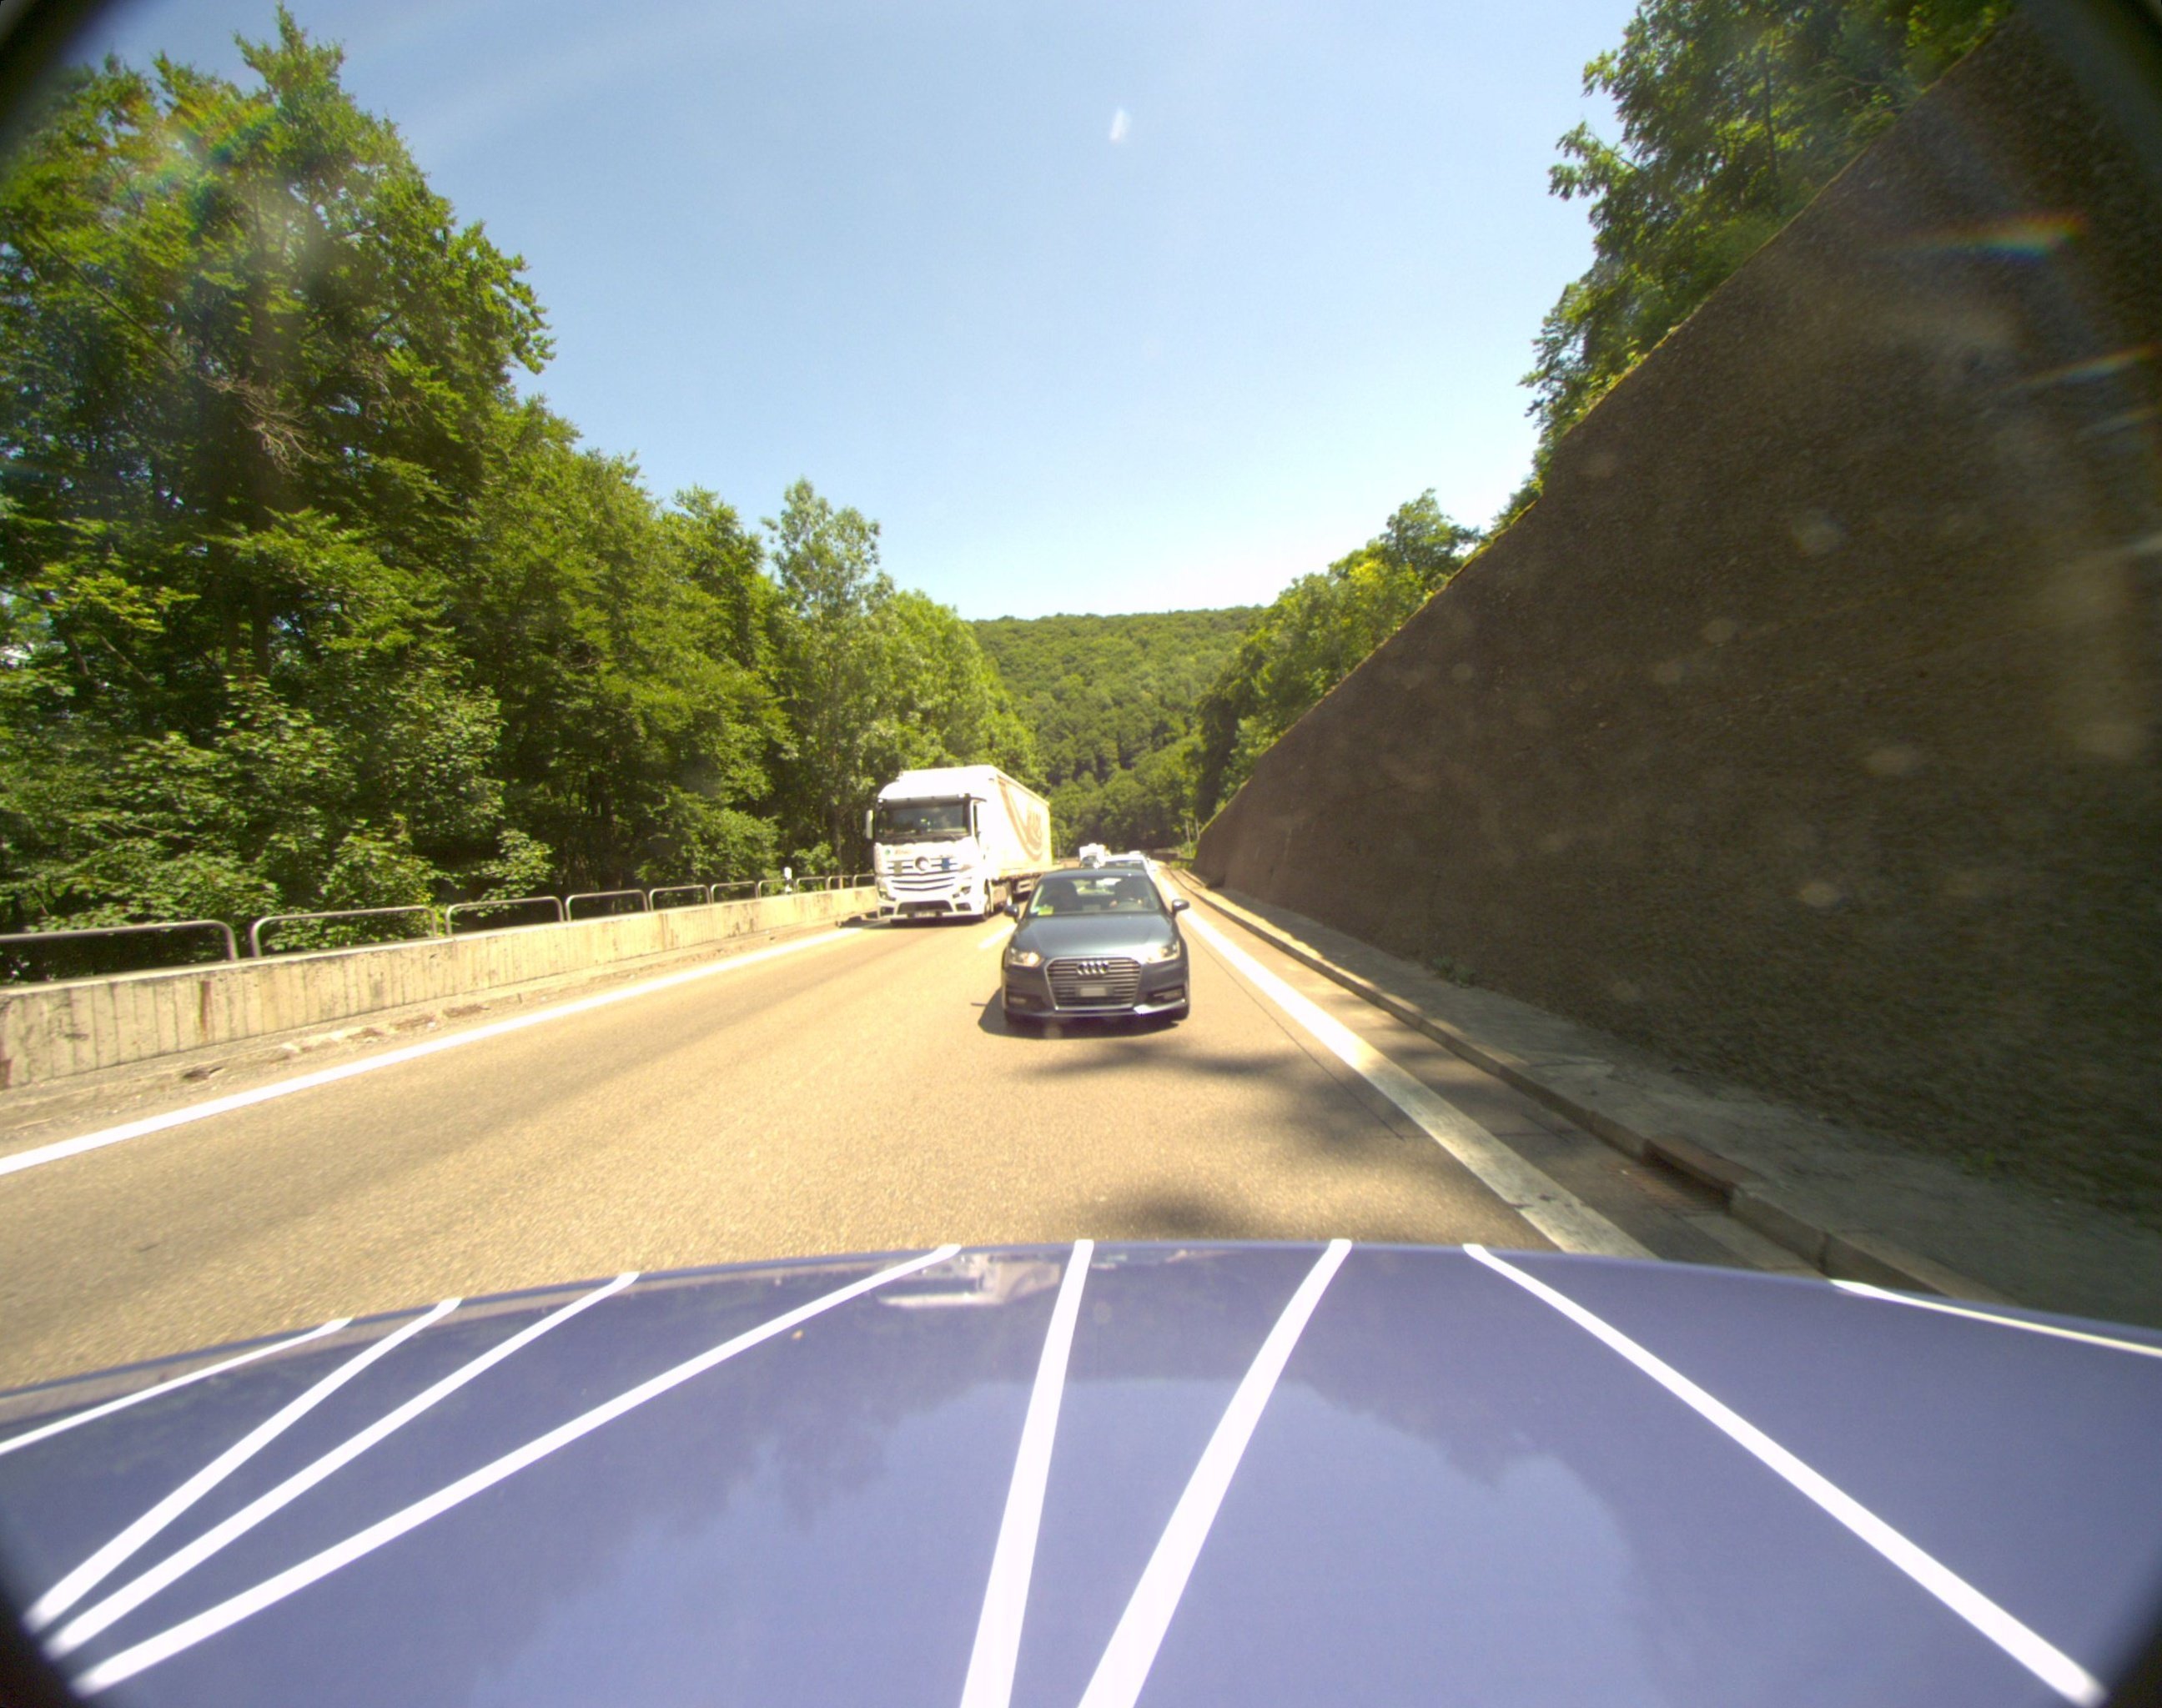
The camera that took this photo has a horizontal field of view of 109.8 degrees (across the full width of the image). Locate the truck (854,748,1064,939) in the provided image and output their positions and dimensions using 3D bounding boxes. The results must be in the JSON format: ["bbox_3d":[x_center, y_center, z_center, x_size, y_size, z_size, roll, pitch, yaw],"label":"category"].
[{"bbox_3d":[-3.060,-0.257,26.201,2.968,4.108,16.711,-8,0,4],"label":"truck"}]

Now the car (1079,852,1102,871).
[{"bbox_3d":[0.912,0.668,71.736,1.998,1.652,4.000,-3,0,1],"label":"car"}]

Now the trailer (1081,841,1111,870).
[{"bbox_3d":[1.627,0.131,79.107,2.527,2.694,9.507,-2,0,4],"label":"trailer"}]

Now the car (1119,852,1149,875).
[{"bbox_3d":[3.688,0.629,52.334,1.905,1.430,3.870,-2,0,6],"label":"car"}]

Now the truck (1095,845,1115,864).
[{"bbox_3d":[3.307,0.033,102.921,2.442,2.395,6.815,-3,0,4],"label":"truck"}]

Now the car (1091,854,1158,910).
[{"bbox_3d":[1.409,0.791,23.133,1.754,1.460,3.984,-3,0,7],"label":"car"}]

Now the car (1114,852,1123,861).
[{"bbox_3d":[7.475,0.480,150.958,1.613,1.707,3.555,-3,0,1],"label":"car"}]

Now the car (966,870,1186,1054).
[{"bbox_3d":[0.100,0.934,8.283,1.755,1.350,4.123,-3,0,4],"label":"car"}]
